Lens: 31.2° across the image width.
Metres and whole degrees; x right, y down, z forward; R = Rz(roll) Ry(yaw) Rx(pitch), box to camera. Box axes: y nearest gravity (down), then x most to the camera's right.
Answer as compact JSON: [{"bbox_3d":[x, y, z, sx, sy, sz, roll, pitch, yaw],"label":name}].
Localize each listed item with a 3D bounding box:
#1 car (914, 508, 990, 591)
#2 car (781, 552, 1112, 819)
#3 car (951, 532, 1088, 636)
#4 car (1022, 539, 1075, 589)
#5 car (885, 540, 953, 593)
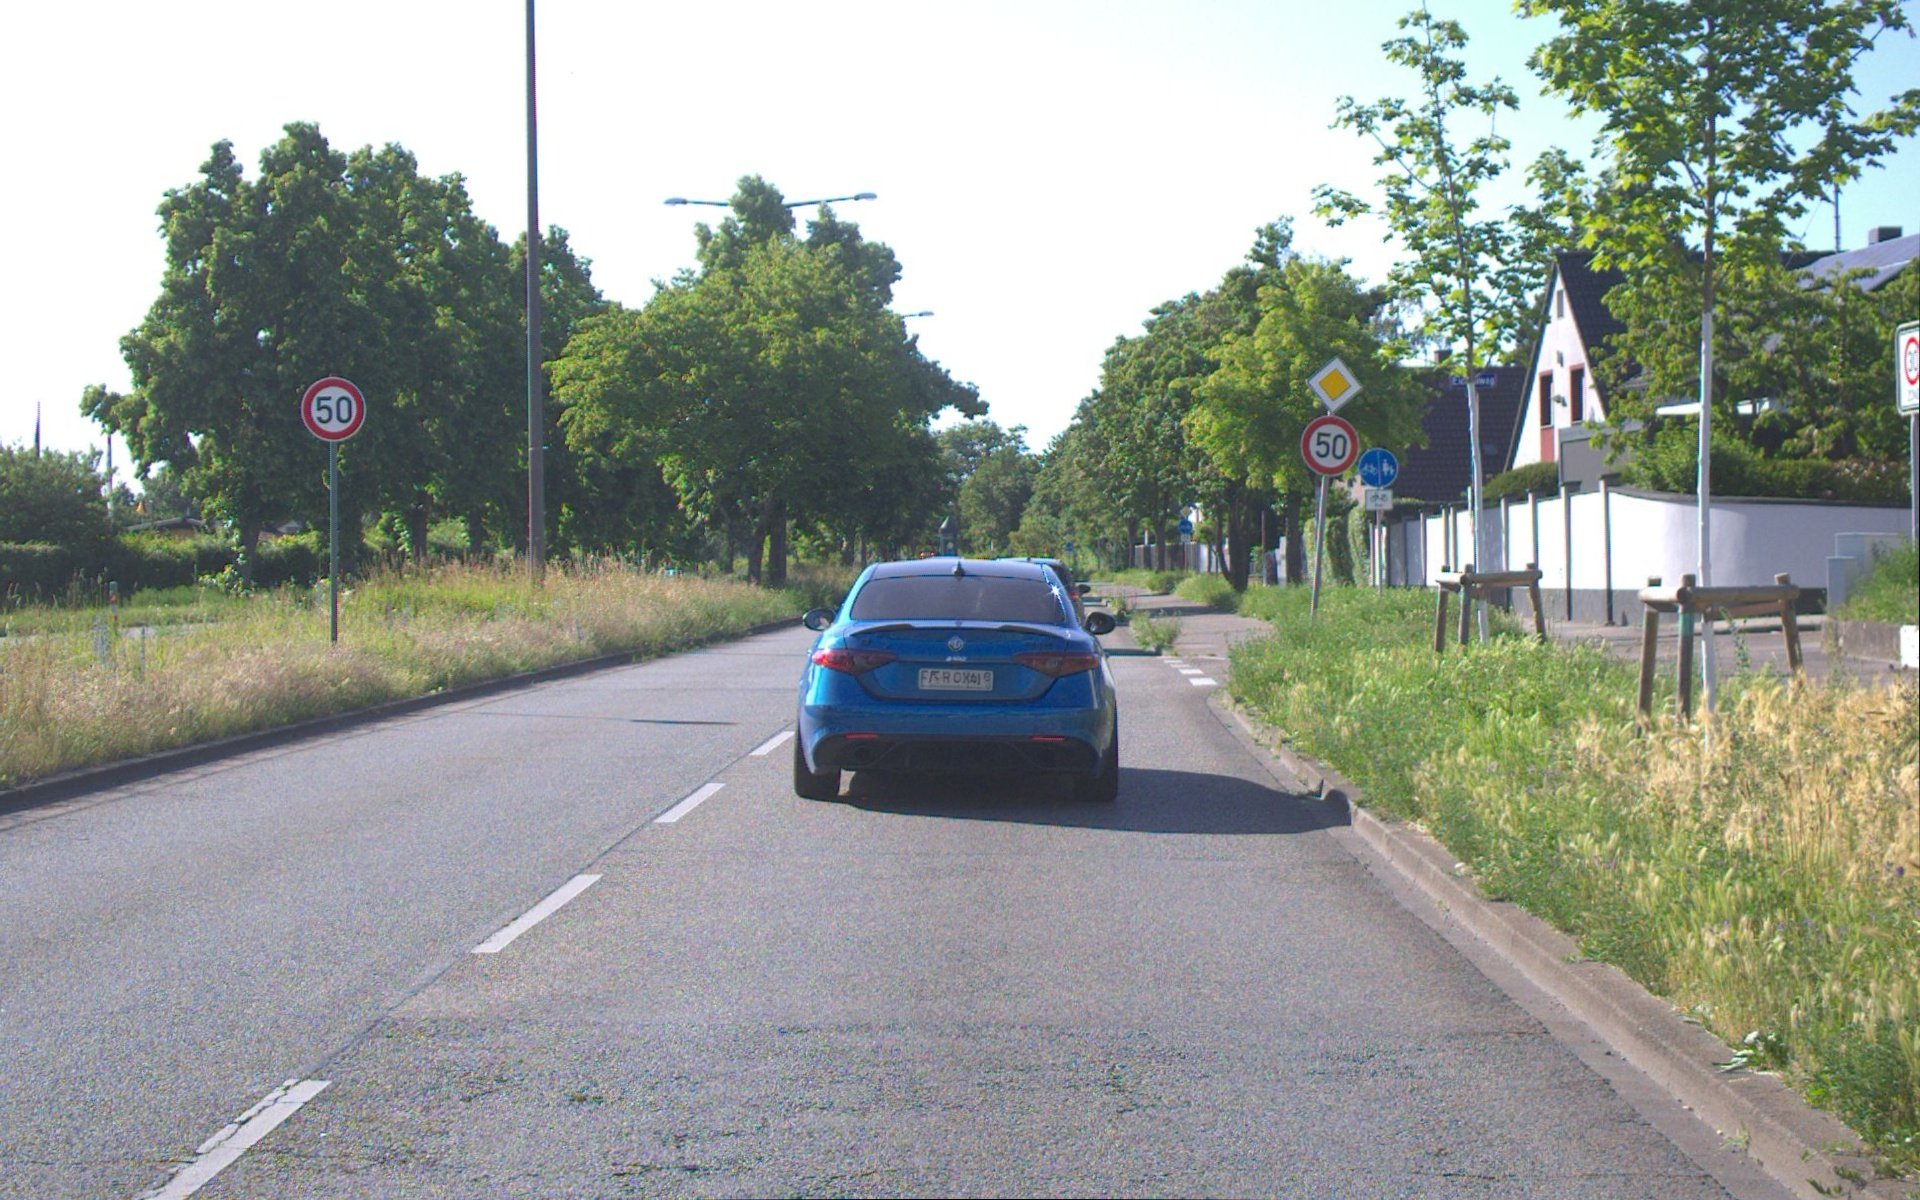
[{"bbox_3d":[-0.179,-1.242,84.832,1.793,2.007,4.000,0,1,1],"label":"car"},{"bbox_3d":[-0.008,0.455,21.295,1.838,1.469,4.184,1,1,2],"label":"car"},{"bbox_3d":[0.894,-0.273,54.394,1.915,1.574,4.183,0,1,-2],"label":"car"},{"bbox_3d":[2.864,-1.184,111.006,1.661,1.574,3.809,0,1,2],"label":"car"},{"bbox_3d":[-1.184,-0.997,100.115,1.915,1.507,4.068,0,1,0],"label":"car"}]
